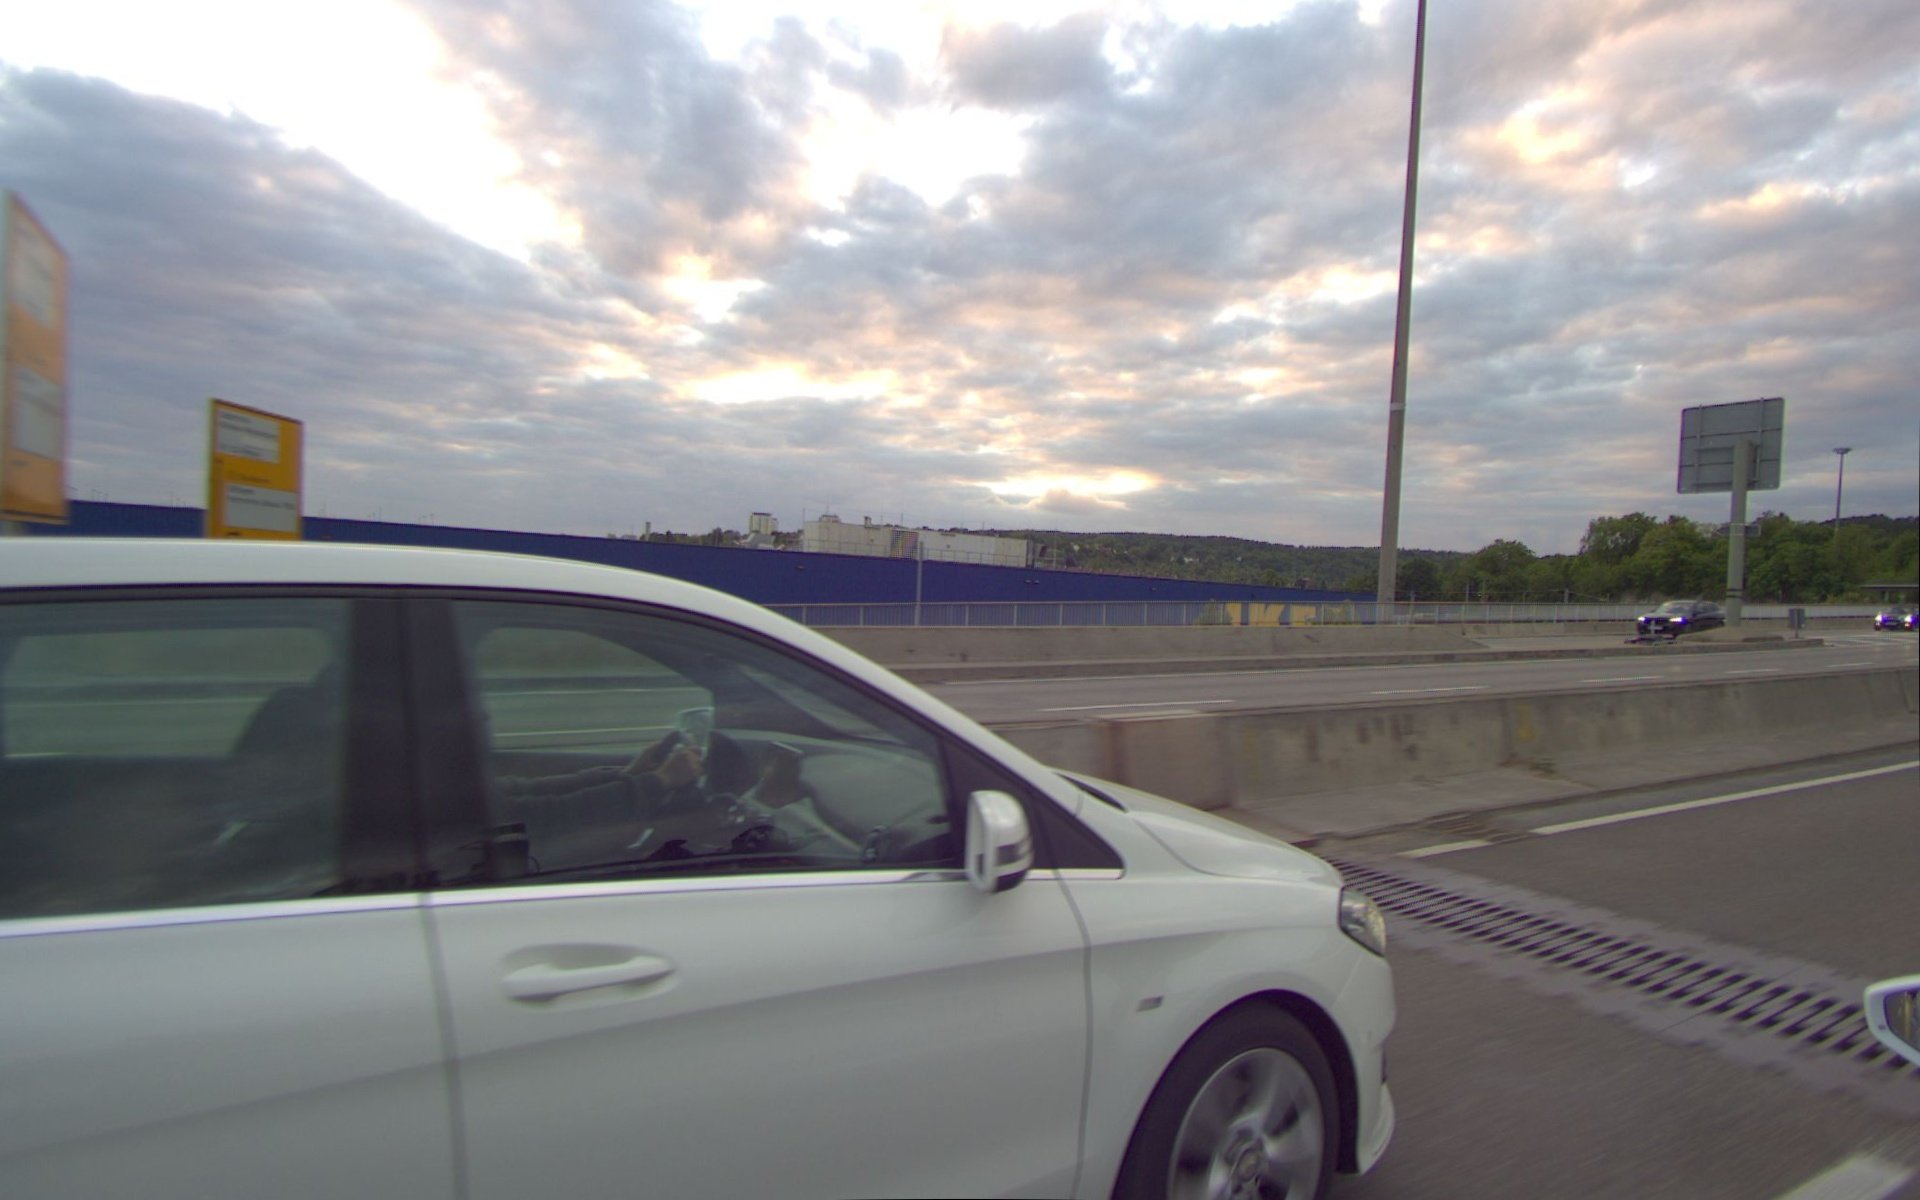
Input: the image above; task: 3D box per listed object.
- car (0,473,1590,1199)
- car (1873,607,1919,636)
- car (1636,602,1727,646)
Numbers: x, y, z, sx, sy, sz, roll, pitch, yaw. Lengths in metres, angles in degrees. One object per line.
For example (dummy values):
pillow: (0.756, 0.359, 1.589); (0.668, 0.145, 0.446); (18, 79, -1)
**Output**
car: (-0.805, 0.653, 2.136); (4.729, 1.557, 1.682); (1, 0, -31)
car: (53.618, 1.213, 56.946); (3.799, 1.506, 1.786); (1, 1, -32)
car: (30.938, 1.023, 43.072); (3.952, 1.740, 1.628); (1, 1, -30)
